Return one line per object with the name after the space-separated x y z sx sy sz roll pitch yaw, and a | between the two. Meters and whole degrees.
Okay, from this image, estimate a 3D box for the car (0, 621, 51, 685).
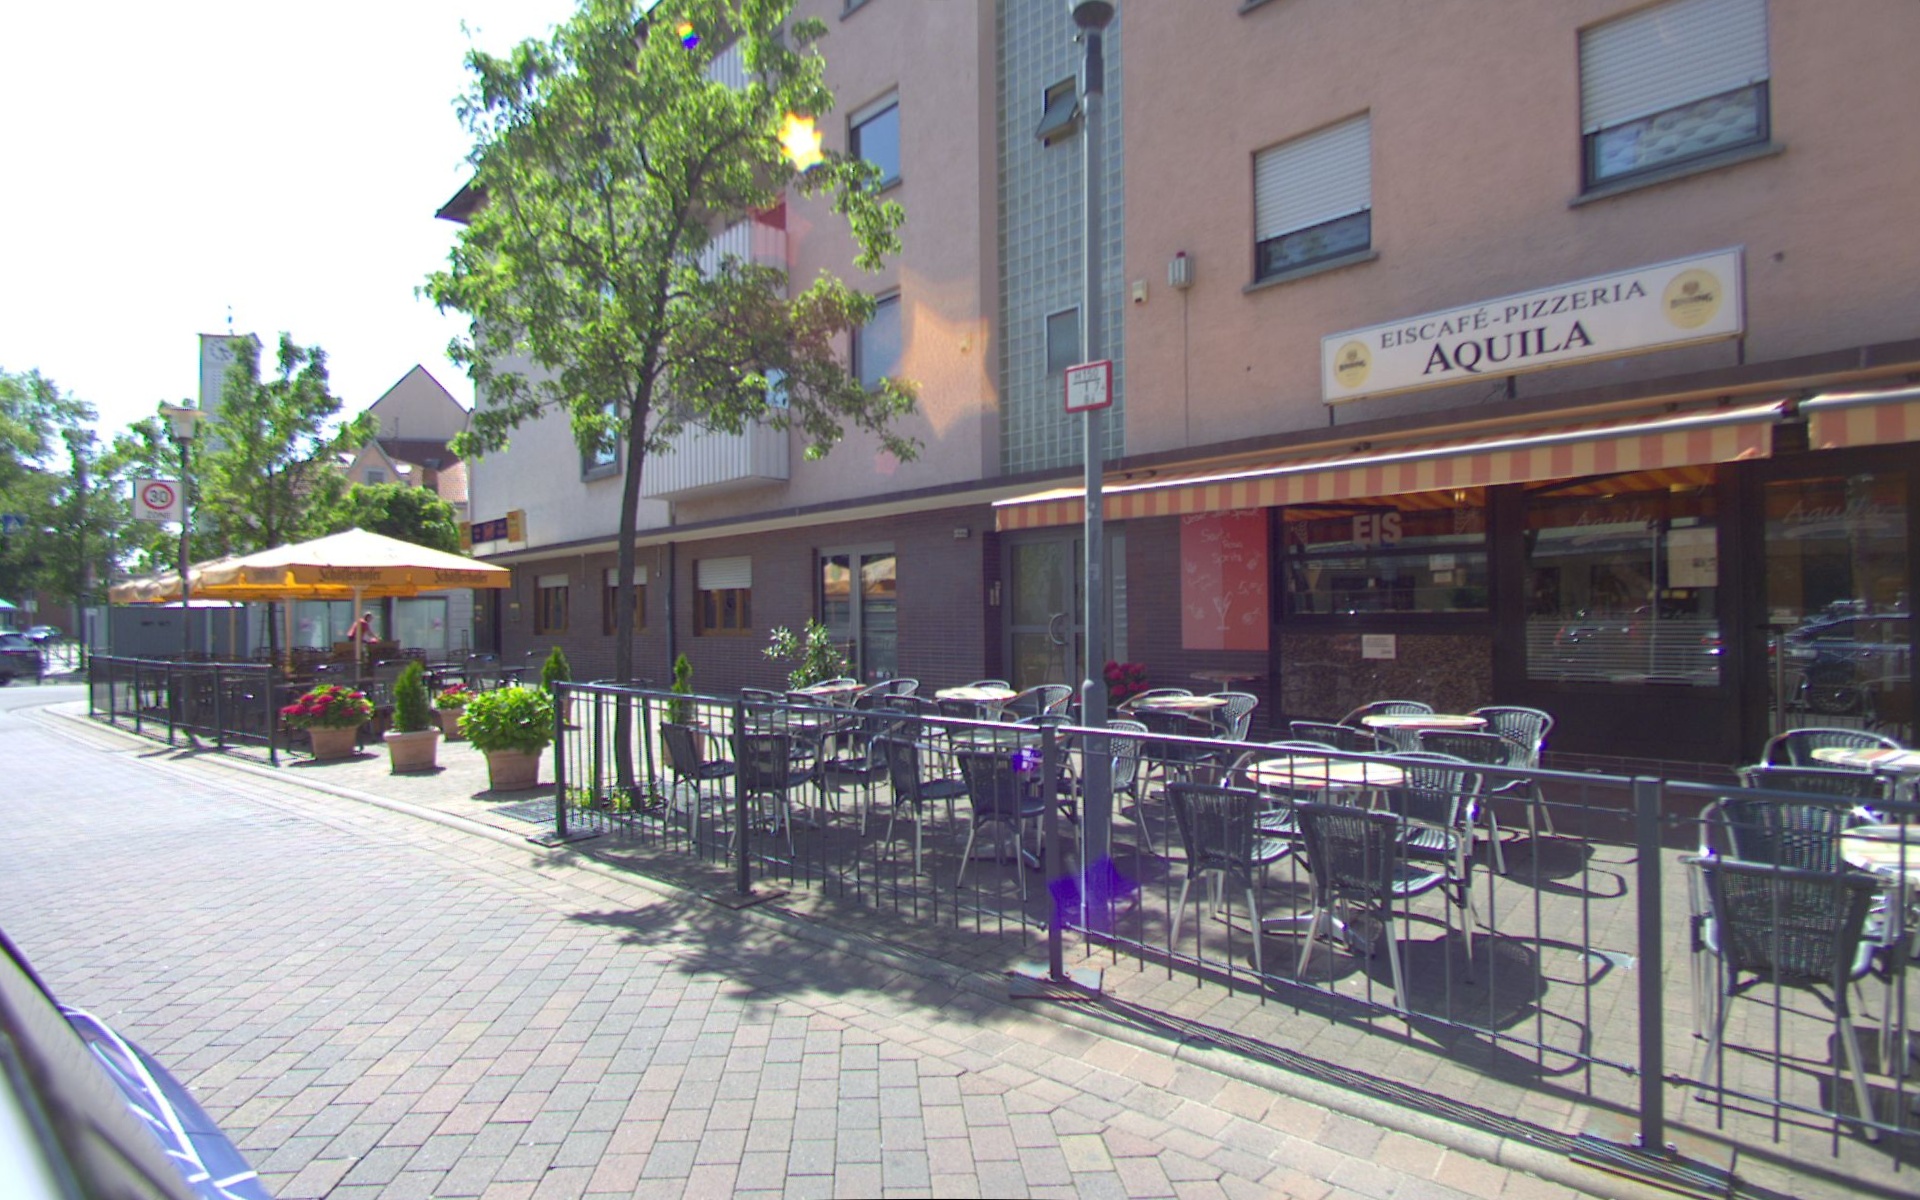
-25.943 1.344 24.918 4.945 1.568 1.911 0 -1 -23 | car

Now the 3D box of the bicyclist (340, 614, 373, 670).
-16.878 1.170 28.297 0.625 1.521 0.574 -1 -1 32 | bicyclist

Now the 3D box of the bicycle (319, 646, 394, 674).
-16.860 1.661 28.302 0.488 0.678 1.793 -1 -1 32 | bicycle
